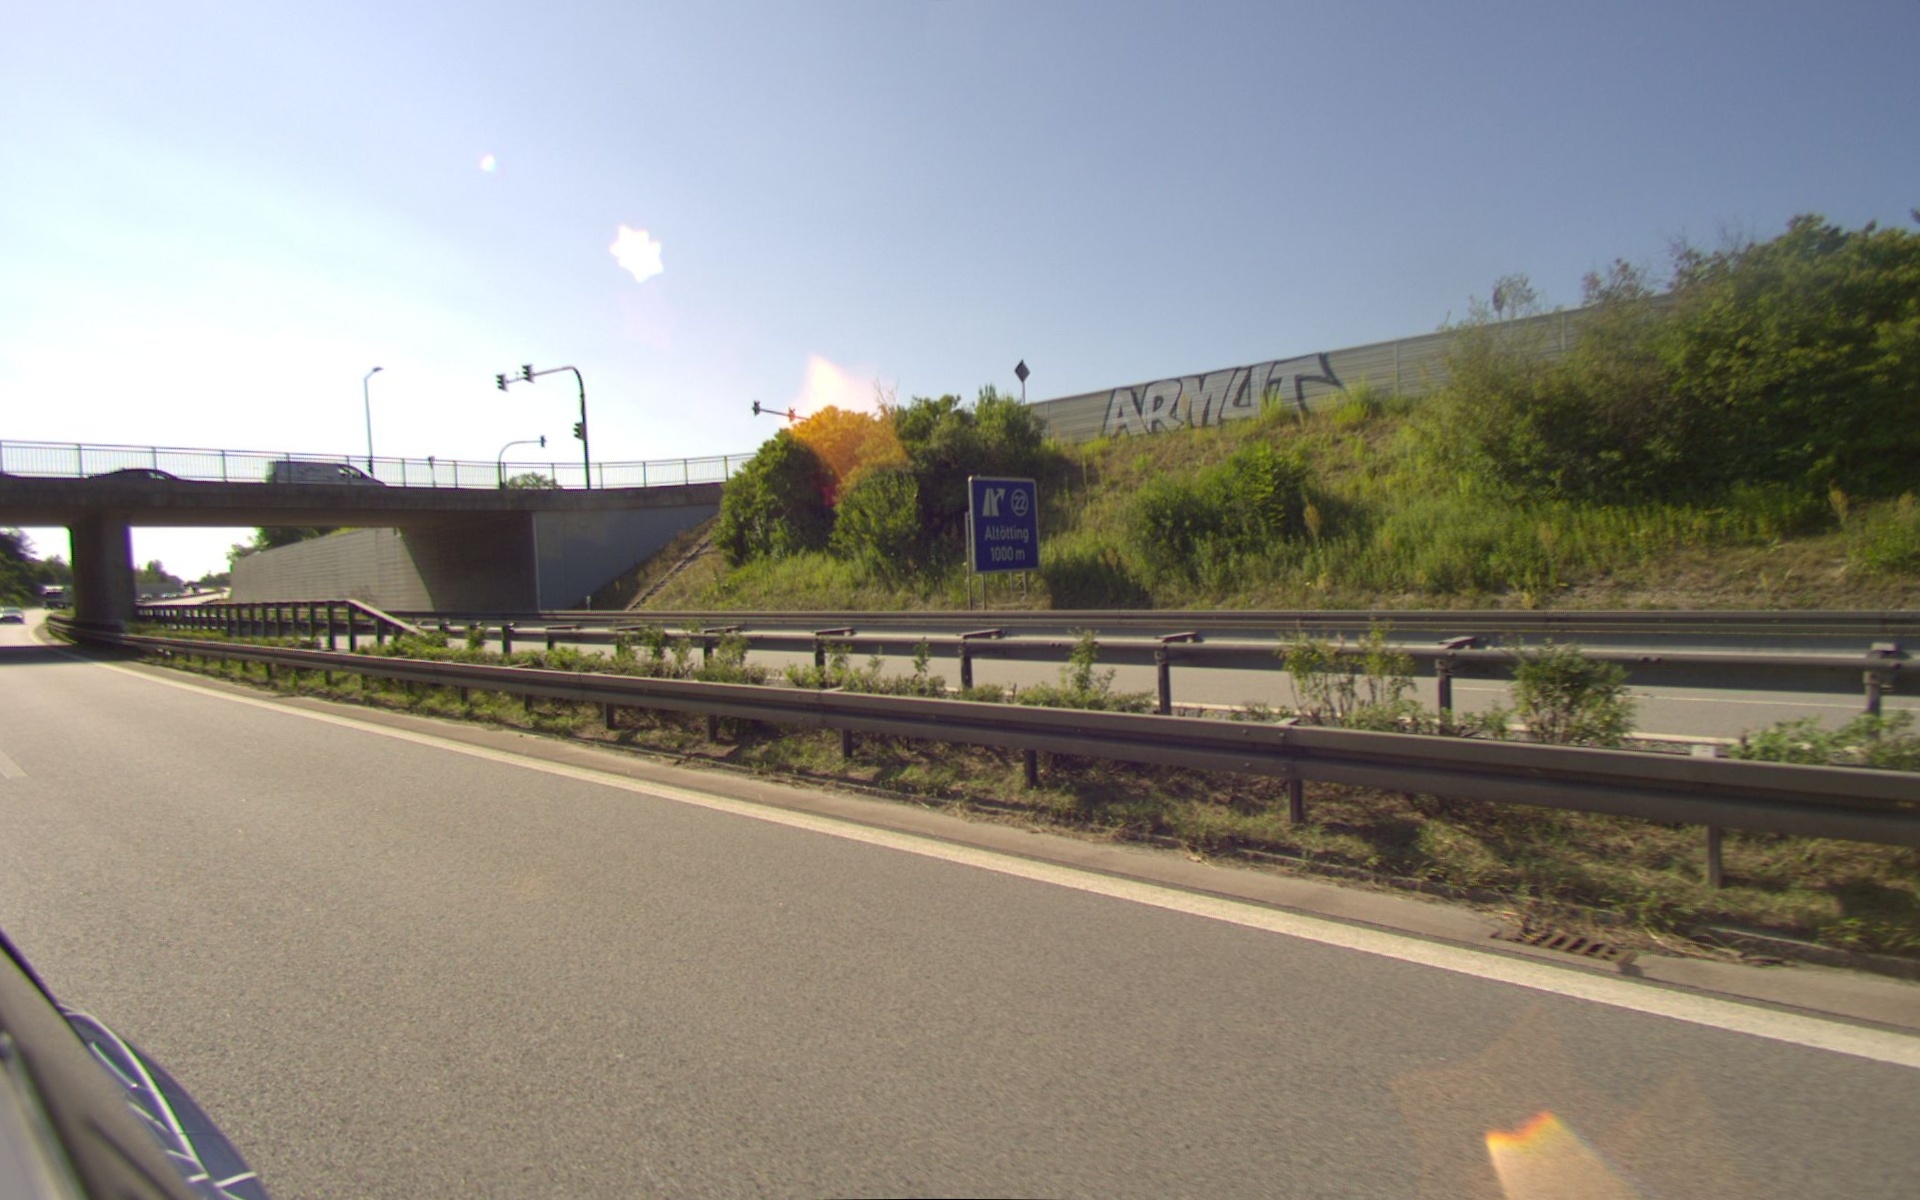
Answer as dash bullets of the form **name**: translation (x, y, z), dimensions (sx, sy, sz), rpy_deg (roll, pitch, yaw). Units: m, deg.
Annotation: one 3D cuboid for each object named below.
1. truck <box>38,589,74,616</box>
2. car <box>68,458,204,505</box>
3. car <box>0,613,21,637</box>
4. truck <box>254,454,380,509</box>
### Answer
- **truck**: translation (-147.865, 0.404, 165.651), dimensions (3.381, 4.243, 12.111), rpy_deg (-1, 1, -37)
- **car**: translation (-35.613, -5.078, 43.802), dimensions (1.907, 1.567, 4.379), rpy_deg (0, 1, 44)
- **car**: translation (-84.409, 2.186, 89.495), dimensions (1.970, 2.029, 4.604), rpy_deg (0, -1, -43)
- **truck**: translation (-30.897, -5.619, 48.696), dimensions (2.001, 2.183, 4.801), rpy_deg (0, 1, 45)
